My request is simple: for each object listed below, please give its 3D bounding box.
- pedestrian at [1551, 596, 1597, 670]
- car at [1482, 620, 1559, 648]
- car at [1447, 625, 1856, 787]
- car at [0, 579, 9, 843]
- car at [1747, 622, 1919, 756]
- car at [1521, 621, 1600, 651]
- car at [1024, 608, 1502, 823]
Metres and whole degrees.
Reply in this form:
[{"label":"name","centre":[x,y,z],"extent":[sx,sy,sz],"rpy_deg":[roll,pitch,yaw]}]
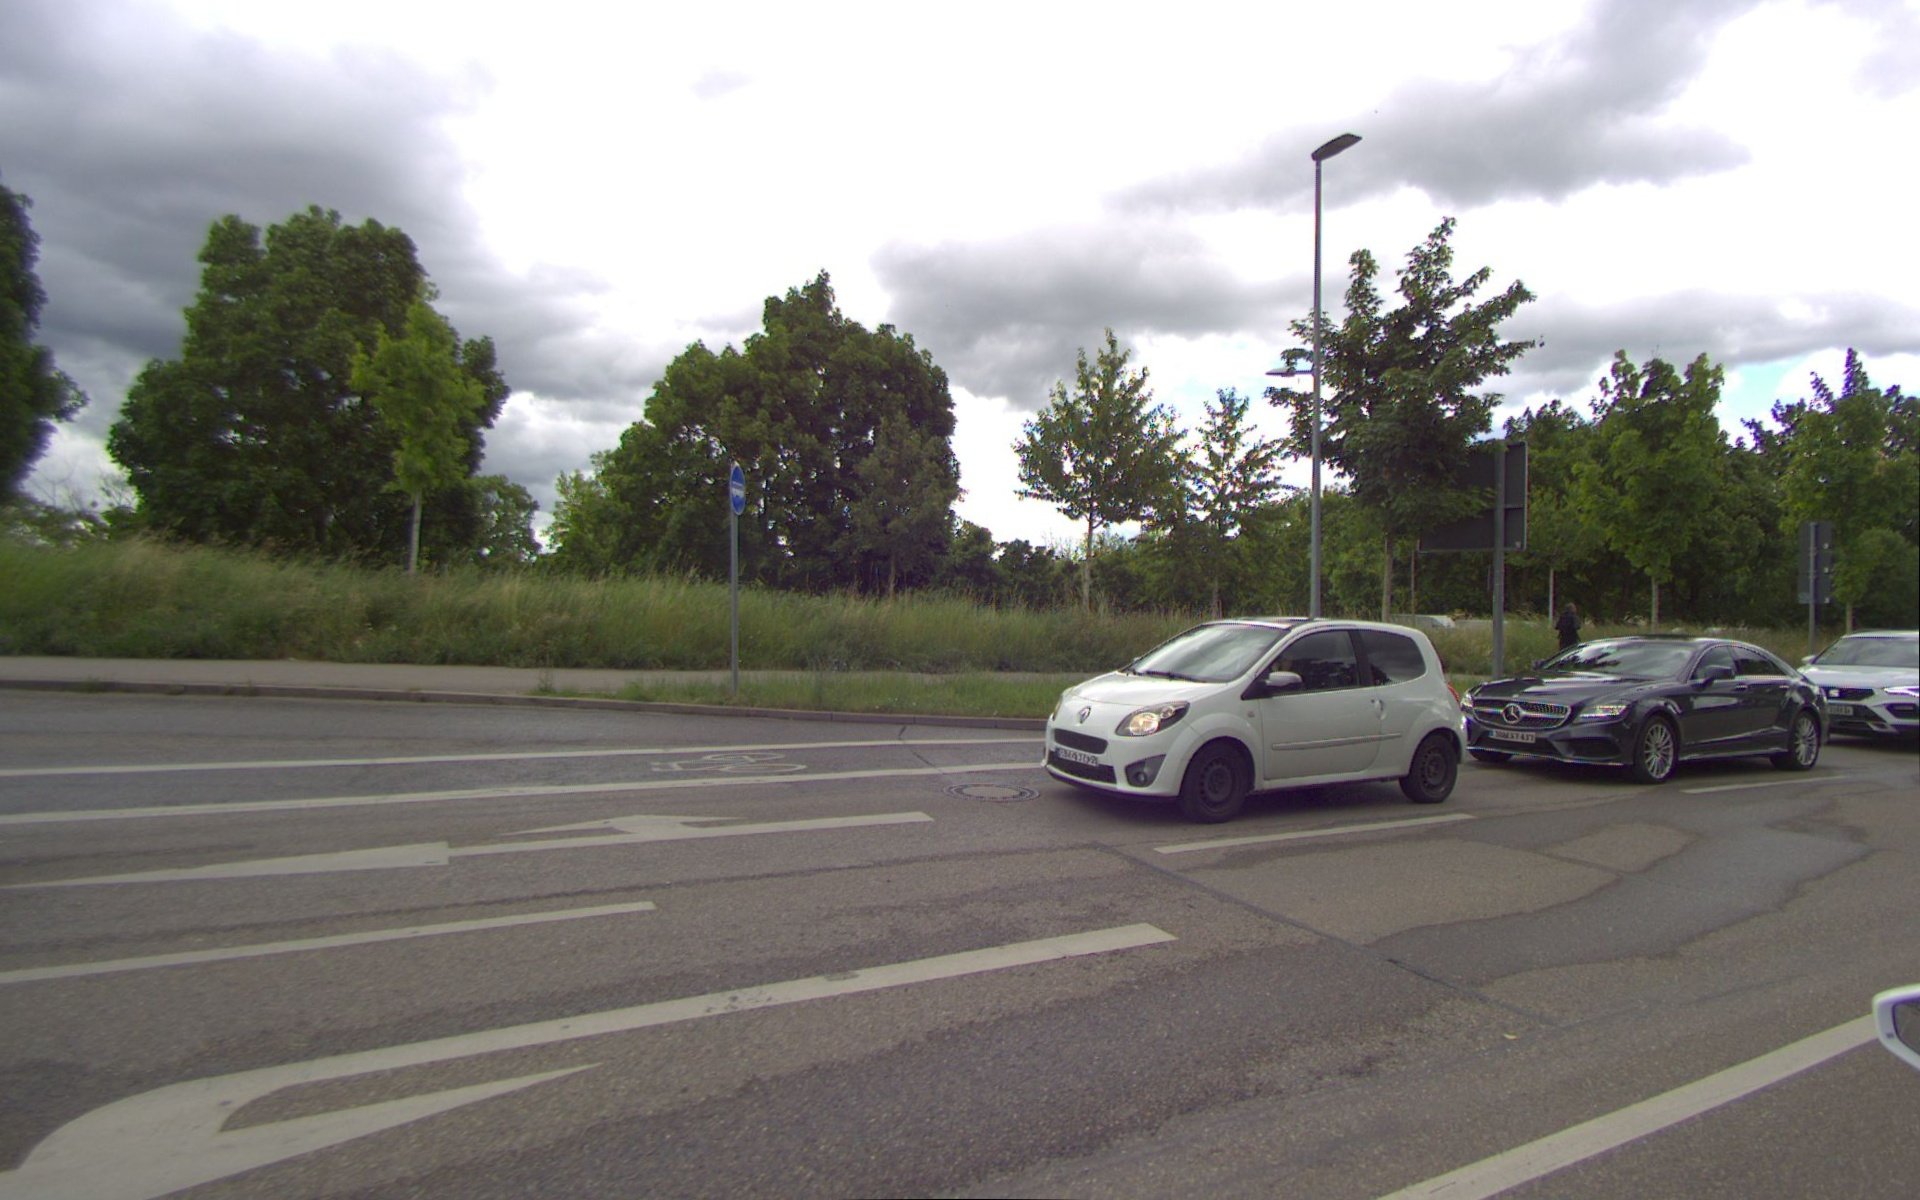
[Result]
[{"label":"pedestrian","centre":[15.601,0.831,25.531],"extent":[0.669,1.860,0.718],"rpy_deg":[1,0,-27]},{"label":"car","centre":[43.658,2.608,78.334],"extent":[1.976,2.040,4.944],"rpy_deg":[2,-1,-29]},{"label":"car","centre":[7.596,1.023,10.909],"extent":[4.824,1.409,1.633],"rpy_deg":[1,0,-28]},{"label":"car","centre":[-6.311,0.533,3.505],"extent":[4.010,1.350,1.633],"rpy_deg":[1,0,-28]},{"label":"car","centre":[13.219,1.166,14.224],"extent":[4.171,1.607,1.723],"rpy_deg":[1,0,-28]},{"label":"car","centre":[46.825,2.802,78.391],"extent":[1.977,2.219,4.941],"rpy_deg":[2,-1,-31]},{"label":"car","centre":[2.540,0.814,8.291],"extent":[3.715,1.409,1.633],"rpy_deg":[1,0,-28]}]
